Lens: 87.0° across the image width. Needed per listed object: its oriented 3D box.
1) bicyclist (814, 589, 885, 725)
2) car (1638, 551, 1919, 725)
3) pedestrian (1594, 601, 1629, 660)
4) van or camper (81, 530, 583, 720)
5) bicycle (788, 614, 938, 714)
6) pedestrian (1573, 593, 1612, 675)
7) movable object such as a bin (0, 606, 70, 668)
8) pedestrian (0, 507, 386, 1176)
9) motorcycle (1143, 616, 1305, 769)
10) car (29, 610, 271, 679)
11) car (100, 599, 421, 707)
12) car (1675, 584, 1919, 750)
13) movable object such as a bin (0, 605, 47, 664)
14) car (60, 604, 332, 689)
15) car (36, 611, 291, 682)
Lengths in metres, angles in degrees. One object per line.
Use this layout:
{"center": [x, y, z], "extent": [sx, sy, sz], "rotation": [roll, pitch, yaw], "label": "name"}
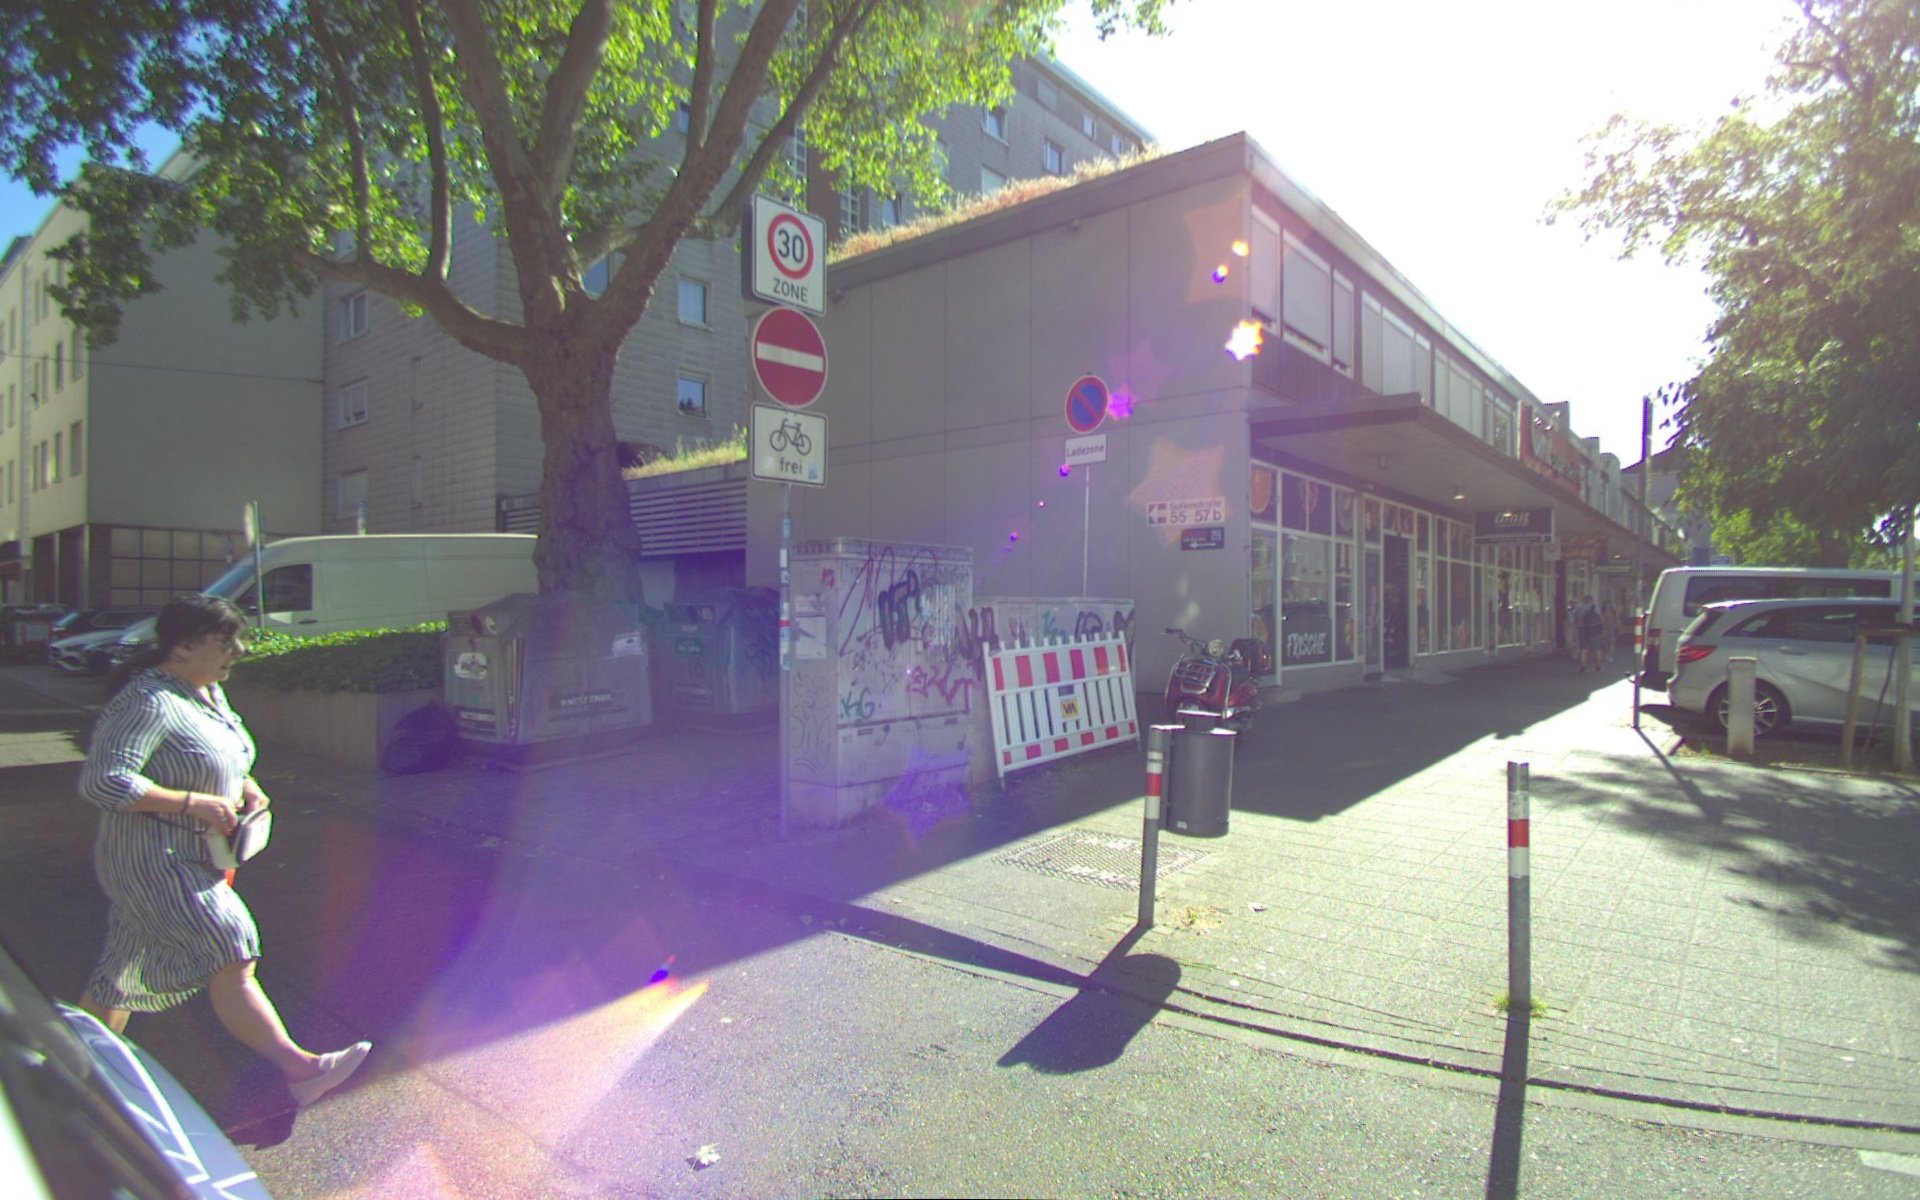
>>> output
{"center": [-1.328, 0.676, 12.223], "extent": [0.700, 1.596, 0.531], "rotation": [-1, -1, 17], "label": "bicyclist"}
{"center": [11.458, 0.446, 12.731], "extent": [4.739, 2.021, 1.934], "rotation": [1, 0, 38], "label": "car"}
{"center": [17.067, 0.790, 26.524], "extent": [0.689, 1.533, 0.525], "rotation": [1, 0, 41], "label": "pedestrian"}
{"center": [-10.084, 0.196, 17.047], "extent": [1.999, 2.593, 6.836], "rotation": [-1, 2, 40], "label": "van or camper"}
{"center": [-1.182, 0.785, 12.566], "extent": [1.698, 1.162, 0.803], "rotation": [-1, 0, 9], "label": "bicycle"}
{"center": [13.275, 0.691, 21.228], "extent": [0.566, 1.678, 0.702], "rotation": [1, 0, 41], "label": "pedestrian"}
{"center": [-23.660, 0.918, 25.738], "extent": [1.193, 1.512, 1.312], "rotation": [-1, -1, 38], "label": "movable object such as a bin"}
{"center": [-2.242, 0.616, 2.947], "extent": [0.832, 1.585, 0.849], "rotation": [6, -5, -30], "label": "pedestrian"}
{"center": [2.434, 0.766, 9.175], "extent": [0.669, 1.189, 1.896], "rotation": [-1, 1, 40], "label": "motorcycle"}
{"center": [-19.797, 1.019, 24.942], "extent": [1.694, 1.545, 4.368], "rotation": [-1, -1, 33], "label": "car"}
{"center": [-12.207, 0.835, 17.939], "extent": [1.697, 1.545, 4.361], "rotation": [-1, 1, 38], "label": "car"}
{"center": [10.111, 0.668, 10.497], "extent": [4.299, 1.625, 1.735], "rotation": [-1, -1, 39], "label": "car"}
{"center": [-24.892, 0.891, 26.506], "extent": [1.515, 1.512, 1.207], "rotation": [-1, -1, 38], "label": "movable object such as a bin"}
{"center": [-16.211, 0.925, 21.724], "extent": [1.694, 1.629, 4.368], "rotation": [-1, -1, 33], "label": "car"}
{"center": [-18.211, 1.003, 23.361], "extent": [1.595, 1.474, 4.368], "rotation": [-1, -1, 33], "label": "car"}
